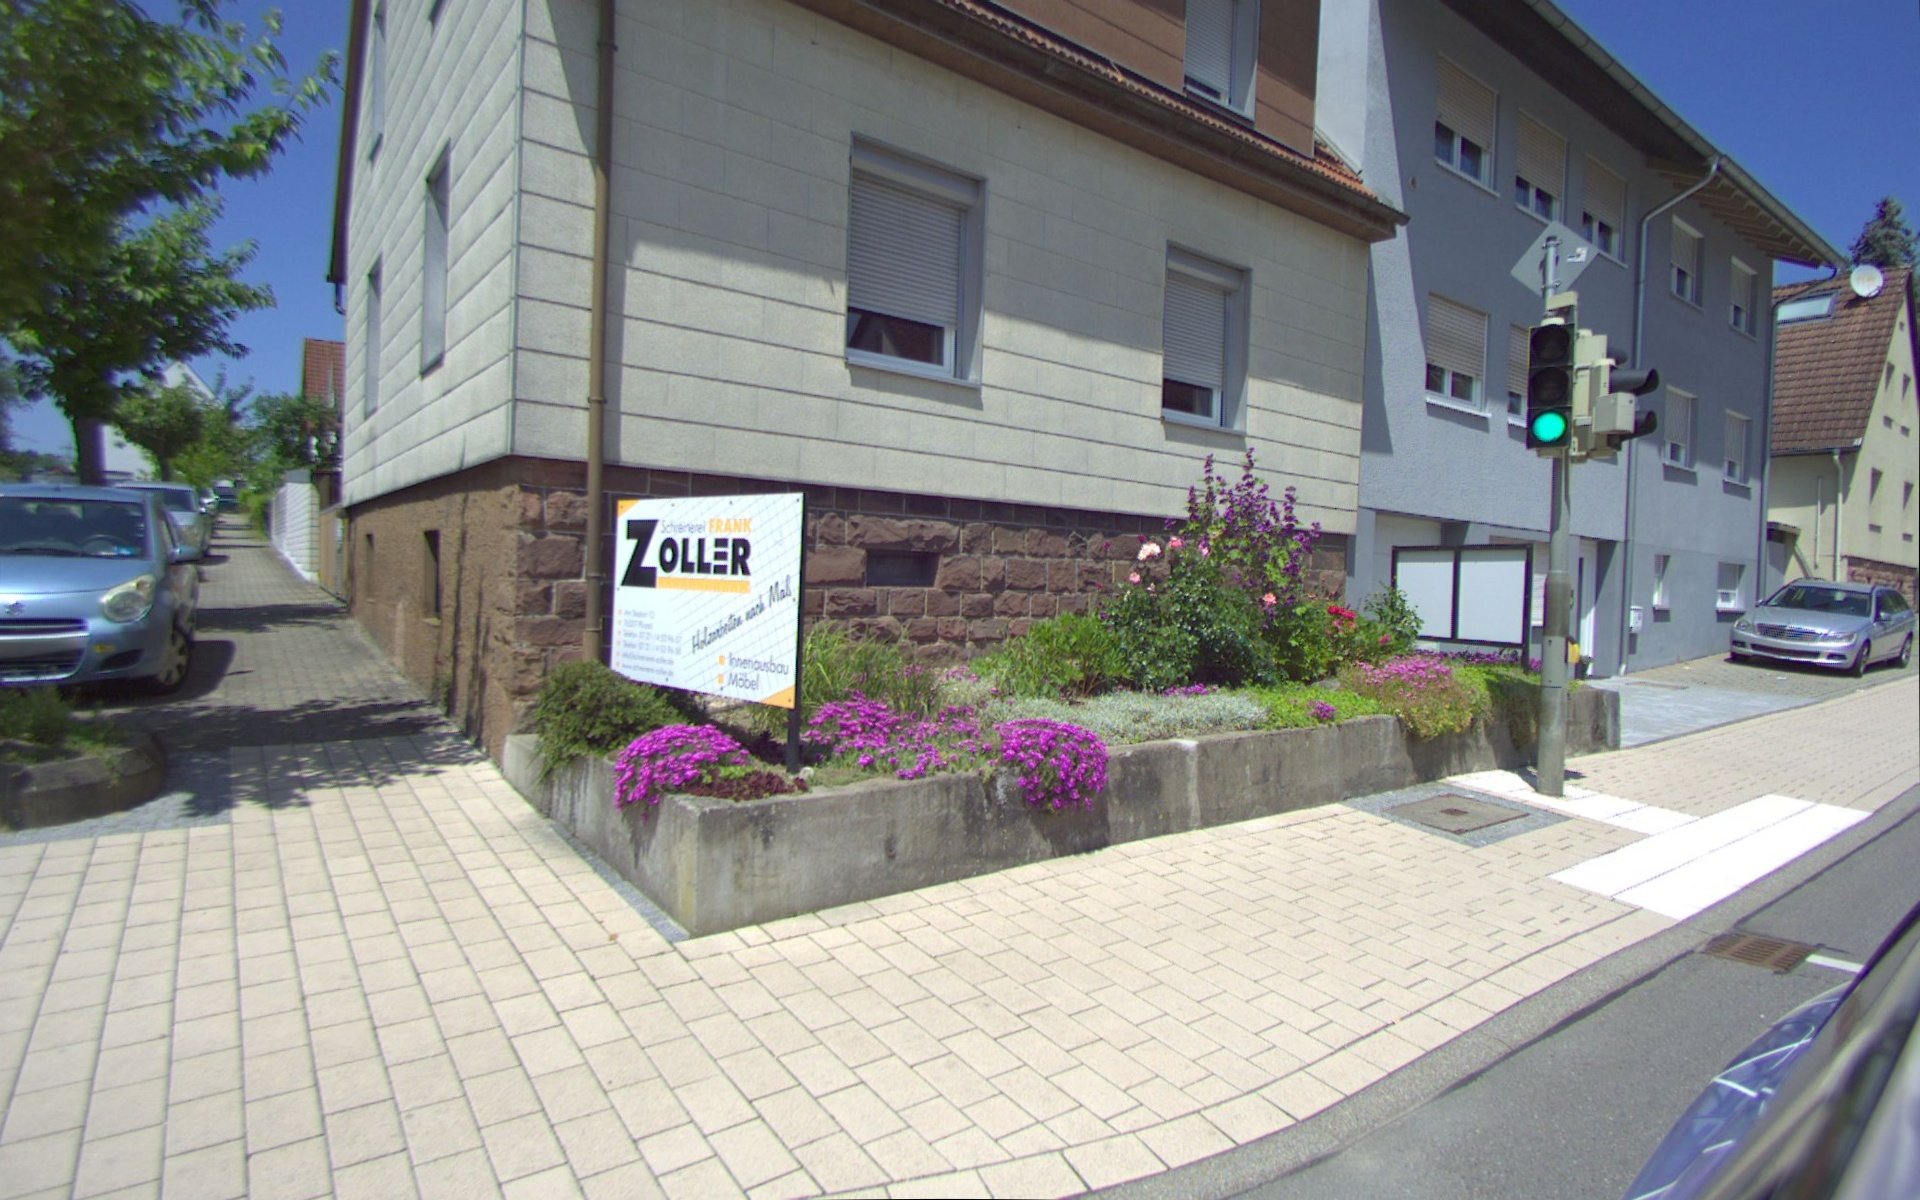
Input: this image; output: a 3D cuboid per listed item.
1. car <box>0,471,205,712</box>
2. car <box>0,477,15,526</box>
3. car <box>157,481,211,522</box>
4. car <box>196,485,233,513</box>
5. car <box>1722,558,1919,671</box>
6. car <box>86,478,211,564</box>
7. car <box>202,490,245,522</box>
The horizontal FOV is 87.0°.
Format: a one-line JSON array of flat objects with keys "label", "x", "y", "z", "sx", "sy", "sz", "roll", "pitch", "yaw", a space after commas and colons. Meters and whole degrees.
[{"label": "car", "x": -6.991, "y": -0.210, "z": 7.792, "sx": 1.765, "sy": 1.510, "sz": 3.529, "roll": -1, "pitch": 6, "yaw": -35}, {"label": "car", "x": -30.826, "y": -3.083, "z": 31.330, "sx": 1.870, "sy": 1.502, "sz": 4.290, "roll": -1, "pitch": 5, "yaw": -37}, {"label": "car", "x": -35.611, "y": -4.518, "z": 46.470, "sx": 1.870, "sy": 1.737, "sz": 4.290, "roll": -1, "pitch": 5, "yaw": -37}, {"label": "car", "x": -49.654, "y": -6.726, "z": 67.355, "sx": 1.870, "sy": 1.737, "sz": 4.290, "roll": -1, "pitch": 5, "yaw": -37}, {"label": "car", "x": 15.249, "y": 0.162, "z": 17.628, "sx": 4.424, "sy": 1.640, "sz": 1.870, "roll": -1, "pitch": 5, "yaw": -36}, {"label": "car", "x": -16.931, "y": -1.667, "z": 21.240, "sx": 1.870, "sy": 1.599, "sz": 4.401, "roll": -1, "pitch": 5, "yaw": -37}, {"label": "car", "x": -42.572, "y": -5.434, "z": 58.482, "sx": 1.870, "sy": 1.737, "sz": 4.290, "roll": -1, "pitch": 5, "yaw": -37}]
